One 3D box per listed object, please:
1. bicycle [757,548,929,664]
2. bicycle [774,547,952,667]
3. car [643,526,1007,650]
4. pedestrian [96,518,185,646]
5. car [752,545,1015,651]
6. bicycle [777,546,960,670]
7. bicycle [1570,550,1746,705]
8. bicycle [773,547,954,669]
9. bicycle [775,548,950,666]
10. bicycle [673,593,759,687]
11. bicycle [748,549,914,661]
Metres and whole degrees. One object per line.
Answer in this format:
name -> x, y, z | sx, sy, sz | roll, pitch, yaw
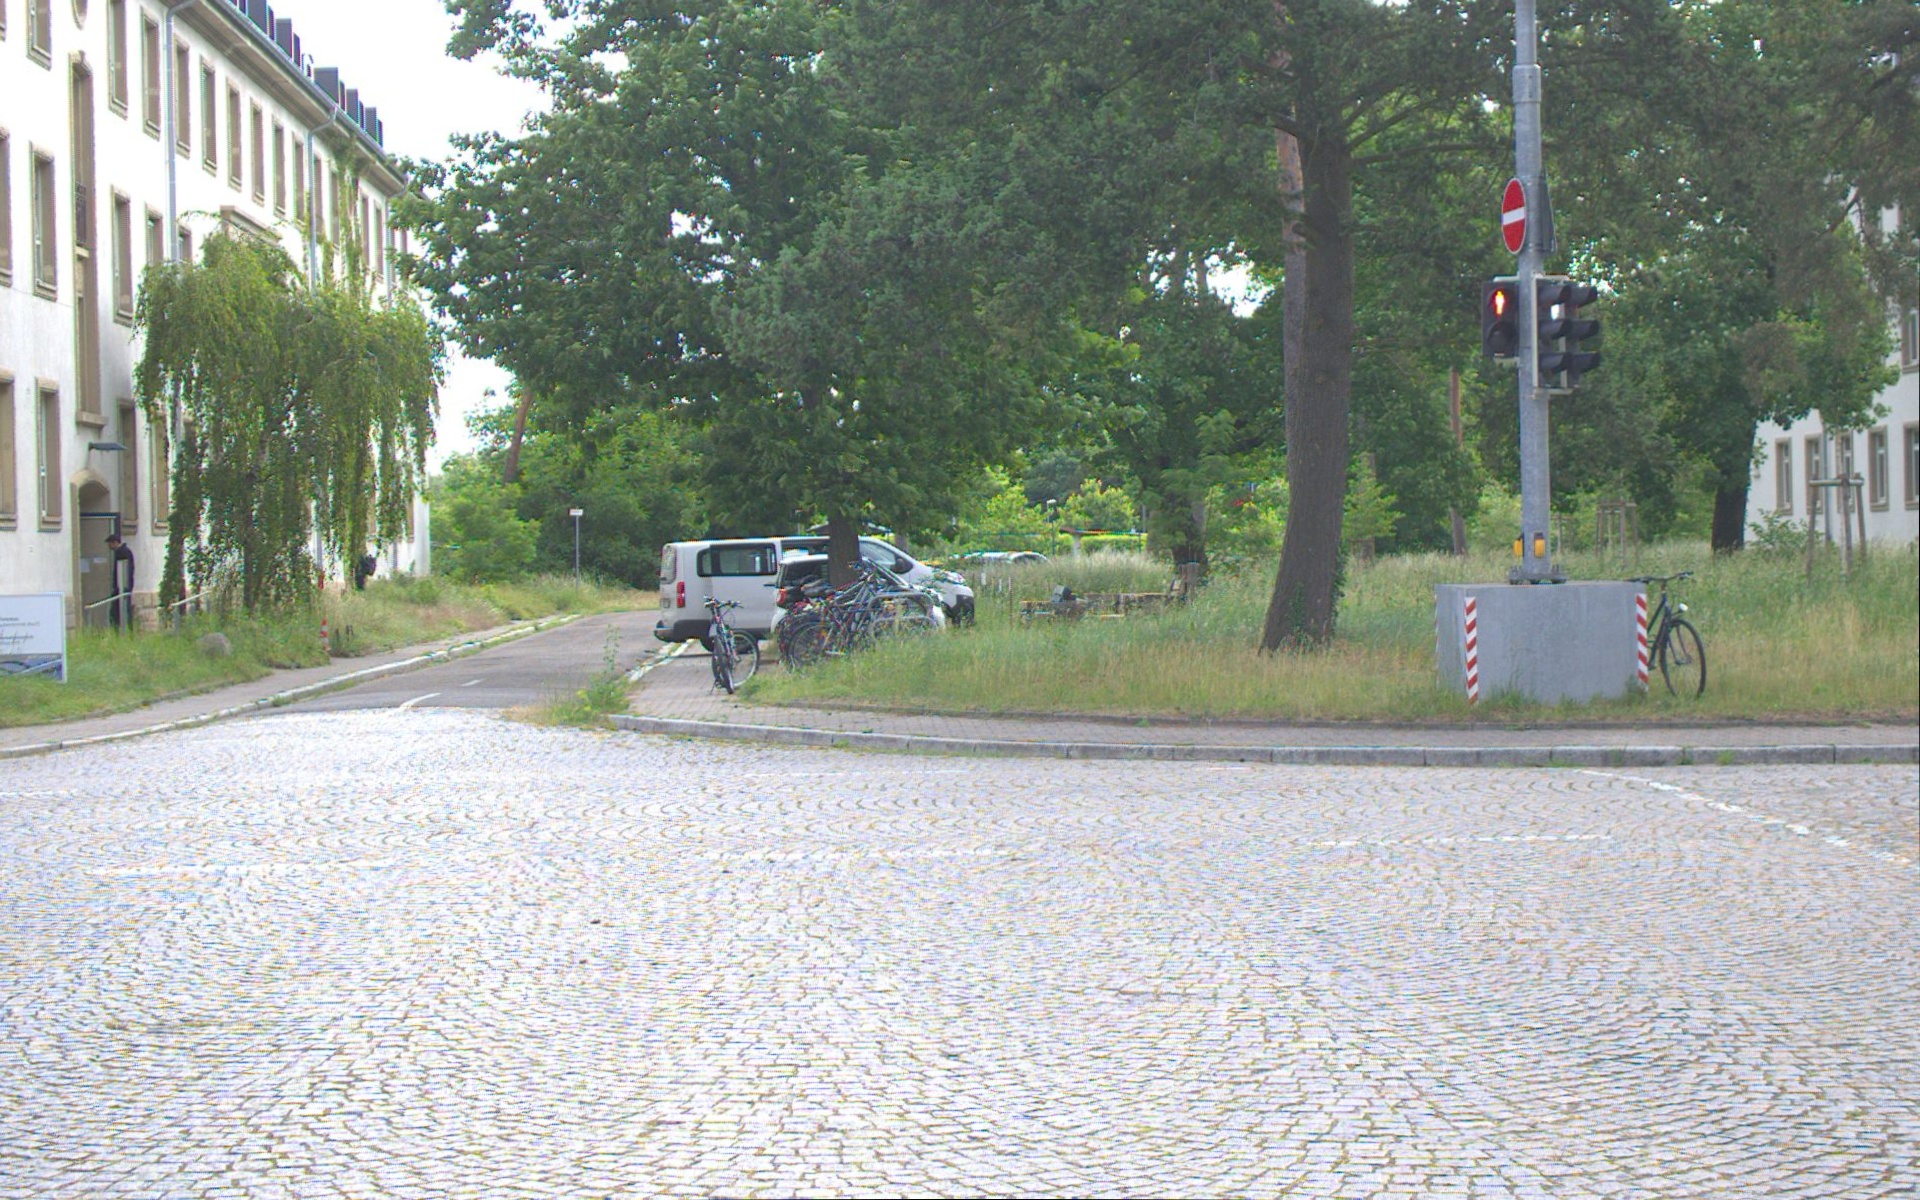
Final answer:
bicycle -> -1.439, 0.066, 42.415 | 2.069, 1.373, 0.620 | -1, 1, -1
bicycle -> -1.153, 0.081, 40.828 | 2.069, 1.373, 0.620 | -1, 1, -1
car -> -2.275, -0.221, 57.396 | 5.690, 1.904, 2.231 | -1, 1, -14
pedestrian -> -13.030, -0.293, 54.668 | 1.087, 2.007, 1.021 | -1, 1, 3
car -> -1.236, -0.046, 54.058 | 3.931, 1.539, 2.000 | -1, 1, -7
bicycle -> -1.051, 0.091, 39.535 | 2.069, 1.373, 0.620 | -1, 1, -1
bicycle -> 5.553, 0.199, 27.461 | 0.908, 1.173, 1.874 | -1, 1, -3
bicycle -> -1.123, 0.086, 40.203 | 2.069, 1.373, 0.620 | -1, 1, -1
bicycle -> -1.179, 0.076, 41.624 | 2.069, 1.373, 0.620 | -1, 1, -1
bicycle -> -2.665, 0.423, 37.691 | 0.618, 0.960, 2.076 | -1, 1, 5
bicycle -> -1.640, 0.055, 43.895 | 2.069, 1.373, 0.620 | -1, 1, -1
